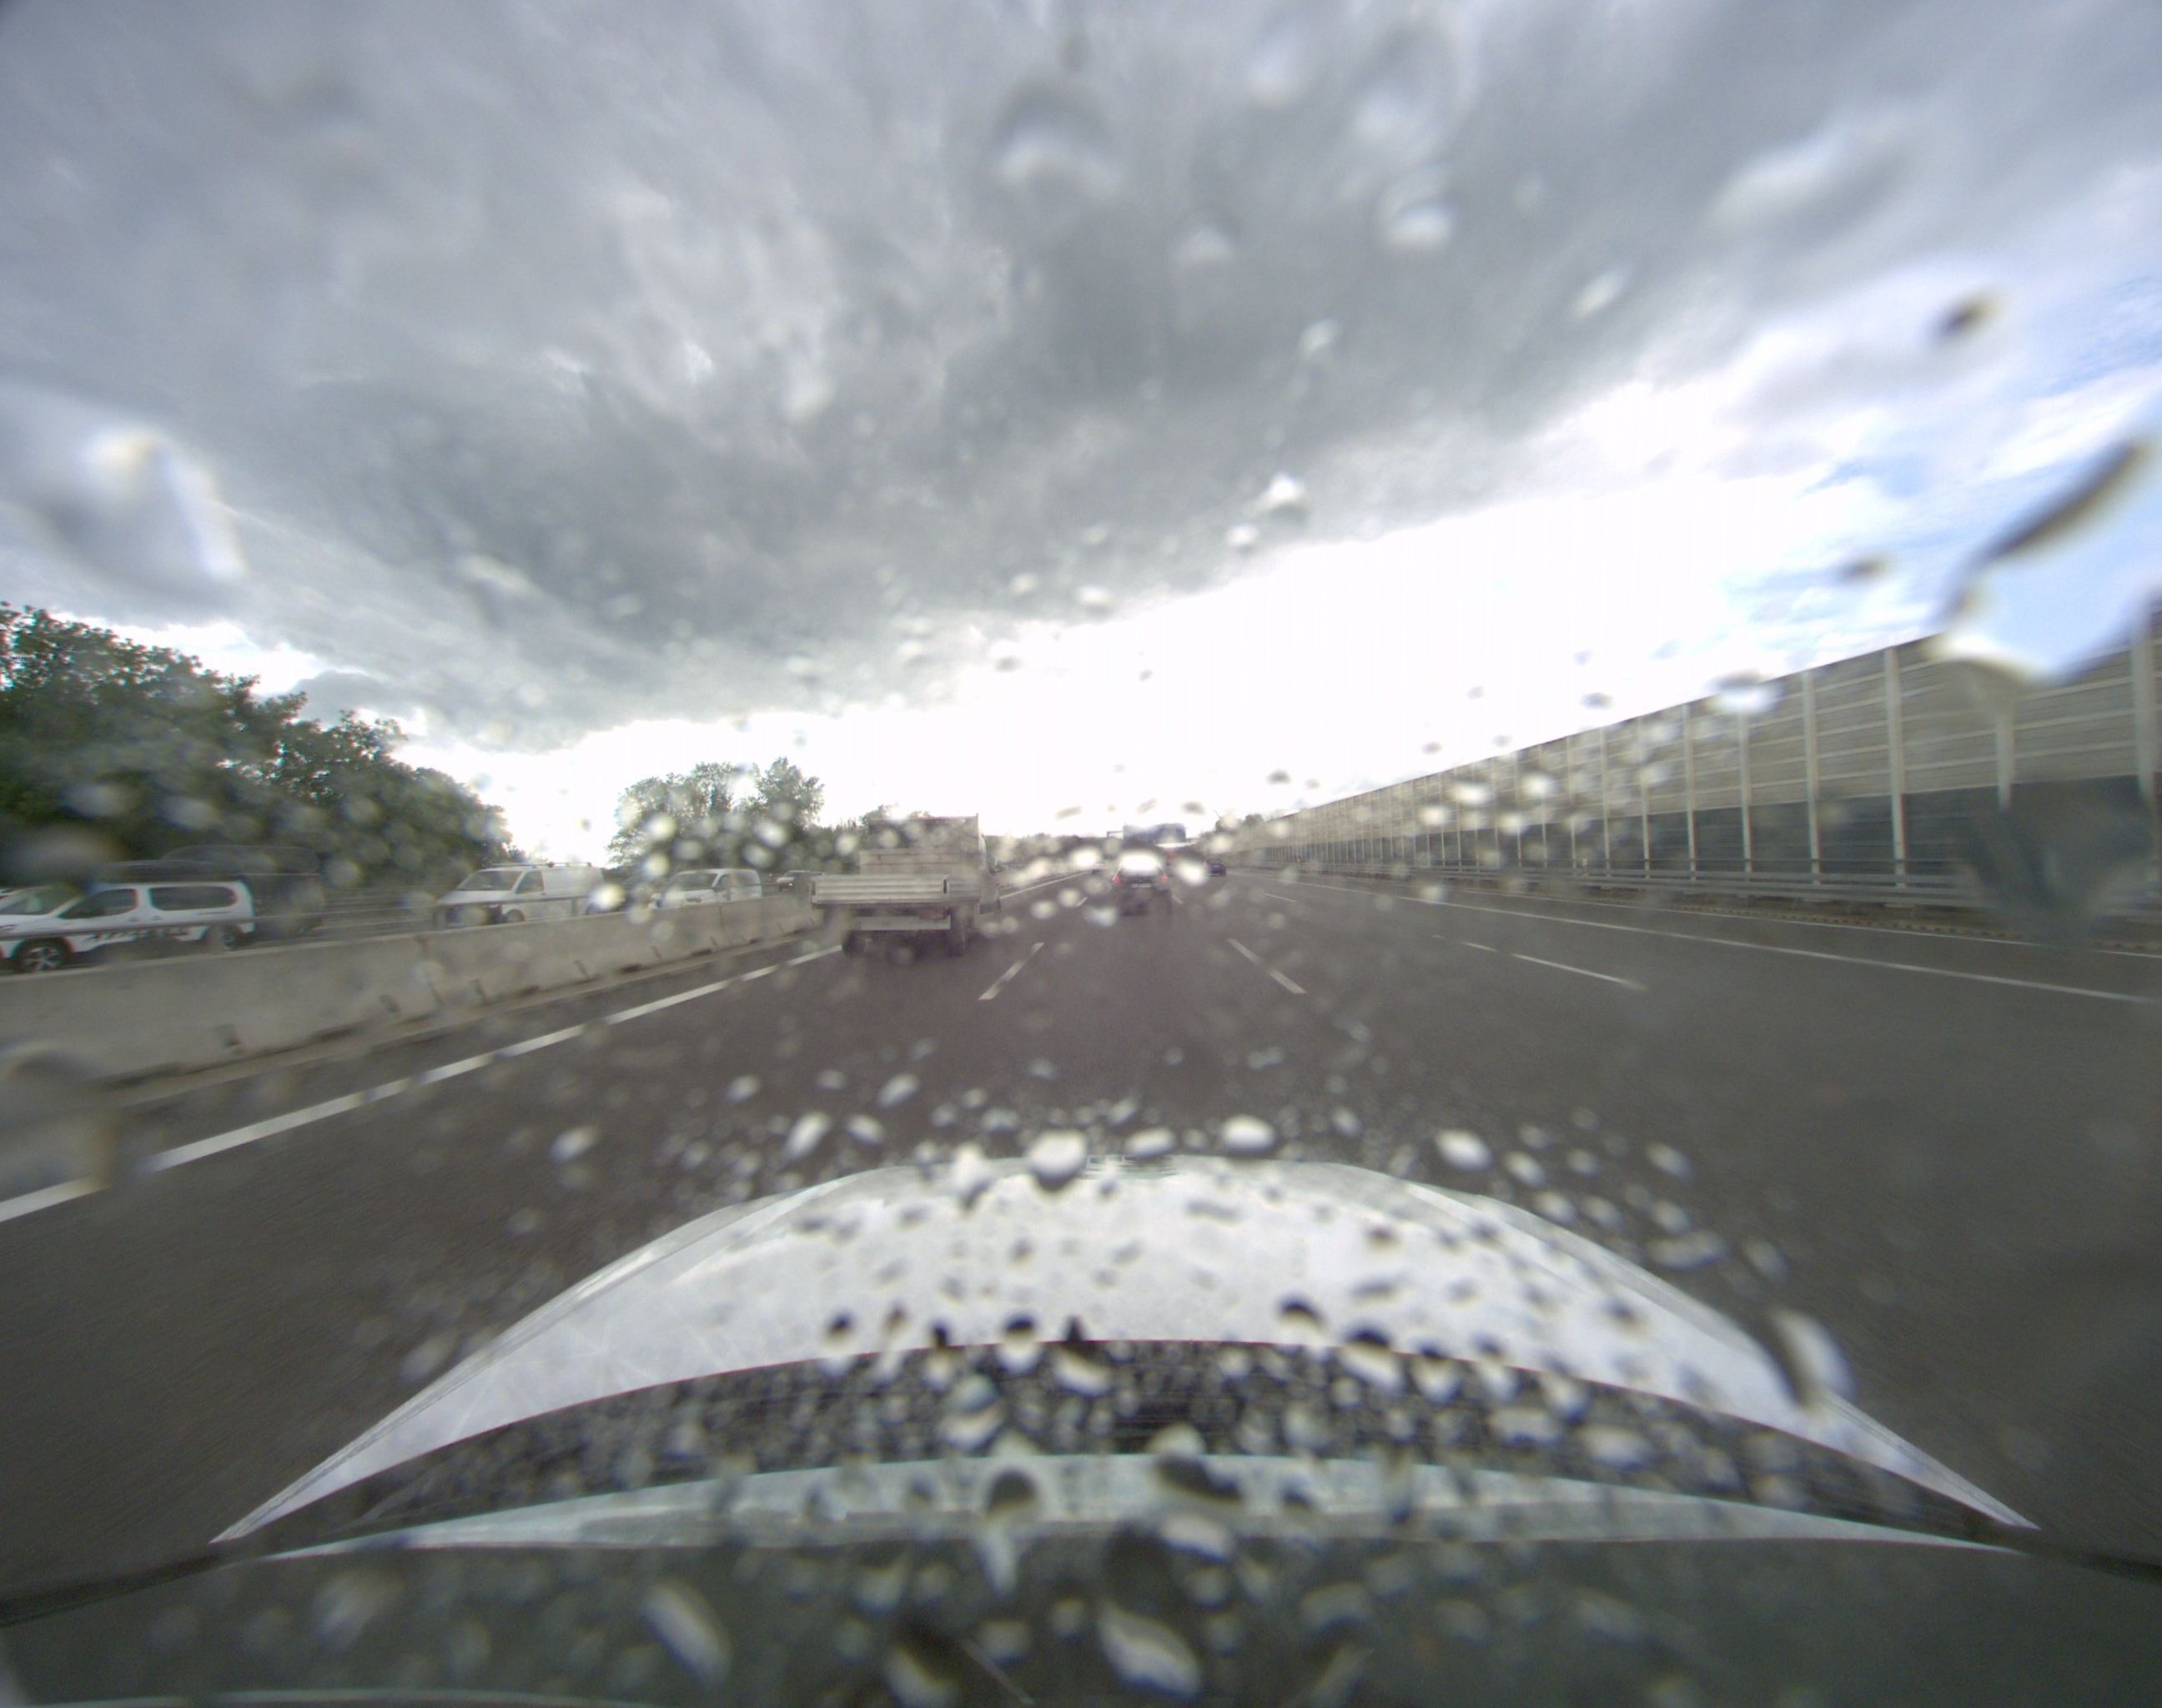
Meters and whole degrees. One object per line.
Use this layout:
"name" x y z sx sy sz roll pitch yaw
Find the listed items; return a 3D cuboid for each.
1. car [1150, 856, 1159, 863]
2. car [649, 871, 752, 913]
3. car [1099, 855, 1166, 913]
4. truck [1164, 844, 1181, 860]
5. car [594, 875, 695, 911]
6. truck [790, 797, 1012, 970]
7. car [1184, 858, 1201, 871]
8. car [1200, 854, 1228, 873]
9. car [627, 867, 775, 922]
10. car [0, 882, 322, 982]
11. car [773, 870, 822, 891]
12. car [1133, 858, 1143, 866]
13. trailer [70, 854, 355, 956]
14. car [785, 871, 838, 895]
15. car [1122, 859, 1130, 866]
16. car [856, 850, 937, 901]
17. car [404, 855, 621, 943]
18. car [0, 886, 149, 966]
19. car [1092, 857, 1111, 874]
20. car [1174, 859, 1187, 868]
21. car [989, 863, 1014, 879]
"car" 17.373 1.269 191.838 1.960 1.561 4.436 -2 -1 3
"car" -16.033 1.567 34.626 2.052 1.535 4.522 -2 -1 3
"car" 1.466 0.788 23.356 1.710 1.417 4.282 -2 0 3
"truck" 20.667 -0.421 184.793 3.139 3.601 12.709 -1 0 3
"car" -19.211 1.679 36.099 1.715 1.464 4.525 -1 -1 5
"truck" -2.896 0.415 15.308 2.298 2.439 7.152 -1 0 2
"car" 14.294 1.370 104.477 1.874 1.542 4.439 -2 -1 5
"car" 11.109 0.795 68.226 1.941 1.418 4.236 -2 -1 4
"car" -12.289 1.233 26.876 2.052 1.535 5.474 -2 -1 3
"car" -20.239 1.535 17.402 2.052 1.645 6.125 -2 -1 3
"car" -21.164 1.974 60.919 1.715 1.464 4.525 -1 -1 5
"car" 11.391 1.655 163.676 1.960 1.561 4.436 -2 -1 3
"trailer" -24.026 1.290 22.938 2.191 2.484 5.232 -2 0 3
"car" -18.028 1.918 54.672 1.715 1.464 4.525 -1 -1 5
"car" 11.099 2.011 199.534 1.960 1.561 4.436 -2 -1 3
"car" -11.221 1.199 50.545 2.221 2.749 9.174 -2 1 4
"car" -16.592 1.206 24.320 2.052 2.236 5.898 -2 -1 3
"car" -24.344 1.636 18.039 2.052 1.645 4.522 -2 -1 3
"car" 2.215 1.224 86.450 1.709 1.624 4.284 -2 0 5
"car" 17.102 1.668 140.190 1.875 1.561 4.436 -2 -1 3
"car" -8.333 1.746 85.653 1.715 1.646 5.068 -1 -1 5
